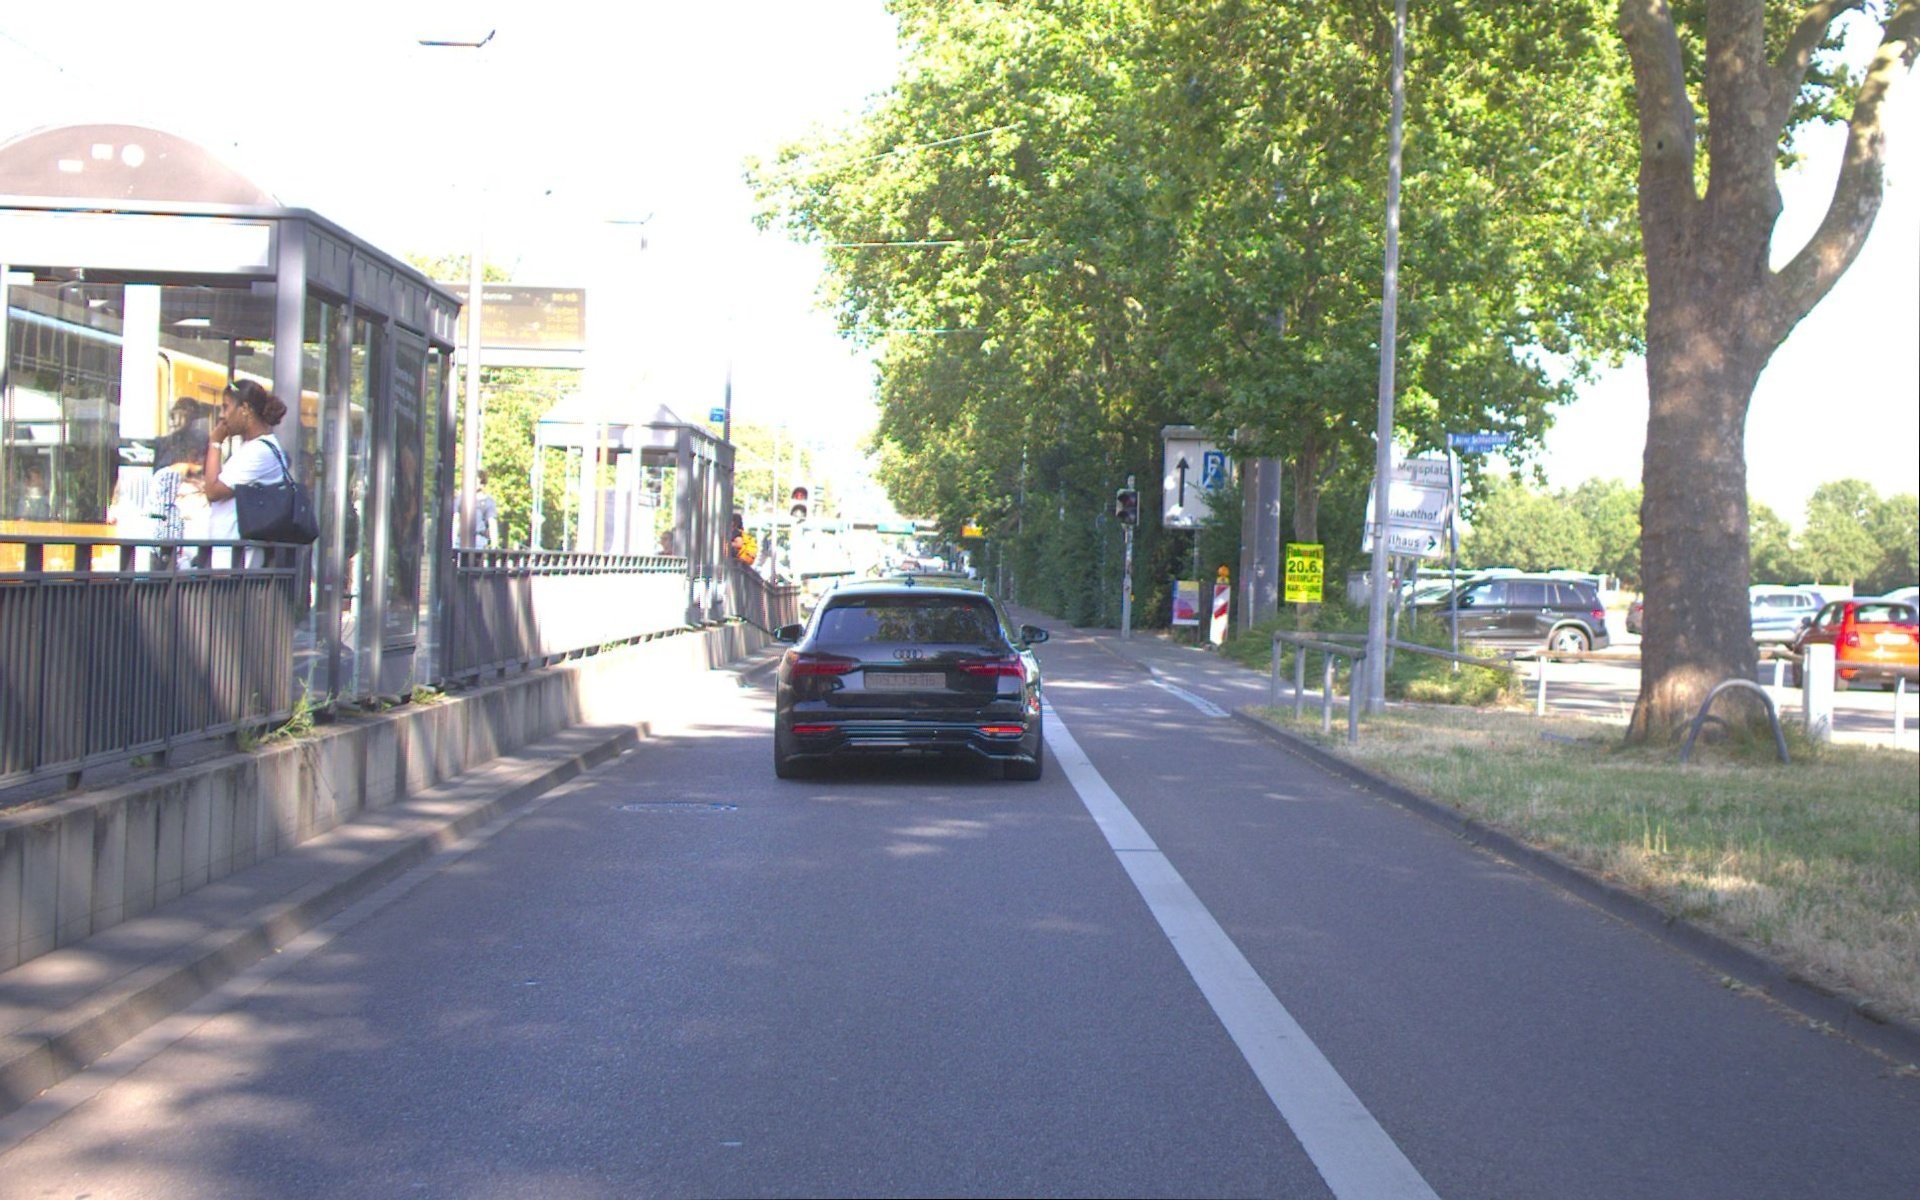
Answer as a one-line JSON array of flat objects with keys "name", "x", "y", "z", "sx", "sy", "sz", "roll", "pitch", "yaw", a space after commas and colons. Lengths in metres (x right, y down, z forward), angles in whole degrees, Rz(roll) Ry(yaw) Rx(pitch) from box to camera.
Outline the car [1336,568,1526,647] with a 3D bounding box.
[{"name": "car", "x": 9.554, "y": 0.140, "z": 69.928, "sx": 3.594, "sy": 1.457, "sz": 1.678, "roll": 2, "pitch": 1, "yaw": 1}]

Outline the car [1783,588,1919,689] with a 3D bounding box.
[{"name": "car", "x": 14.695, "y": 0.603, "z": 55.967, "sx": 1.614, "sy": 1.510, "sz": 3.803, "roll": 2, "pitch": 1, "yaw": 0}]

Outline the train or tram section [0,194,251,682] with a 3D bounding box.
[{"name": "train or tram section", "x": -9.259, "y": -1.366, "z": 30.995, "sx": 3.309, "sy": 3.816, "sz": 11.844, "roll": 2, "pitch": 1, "yaw": -1}]

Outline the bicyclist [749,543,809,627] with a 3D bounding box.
[{"name": "bicyclist", "x": -3.786, "y": -0.318, "z": 72.079, "sx": 0.907, "sy": 1.711, "sz": 0.770, "roll": 2, "pitch": 1, "yaw": -45}]

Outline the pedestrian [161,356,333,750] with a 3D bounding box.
[{"name": "pedestrian", "x": -3.318, "y": -0.219, "z": 16.041, "sx": 0.611, "sy": 1.778, "sz": 0.613, "roll": 2, "pitch": 0, "yaw": 0}]

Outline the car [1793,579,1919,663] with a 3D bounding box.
[{"name": "car", "x": 20.166, "y": 0.475, "z": 73.084, "sx": 4.459, "sy": 1.653, "sz": 1.917, "roll": 2, "pitch": 1, "yaw": 4}]

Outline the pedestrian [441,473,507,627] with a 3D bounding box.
[{"name": "pedestrian", "x": -5.519, "y": -0.568, "z": 39.029, "sx": 0.611, "sy": 1.707, "sz": 0.660, "roll": 2, "pitch": 0, "yaw": -2}]

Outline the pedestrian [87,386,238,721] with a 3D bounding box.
[{"name": "pedestrian", "x": -4.364, "y": -0.254, "z": 18.837, "sx": 0.610, "sy": 1.778, "sz": 0.681, "roll": 2, "pitch": 0, "yaw": 0}]

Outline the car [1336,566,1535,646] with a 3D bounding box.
[{"name": "car", "x": 9.973, "y": 0.115, "z": 72.250, "sx": 3.886, "sy": 1.499, "sz": 1.888, "roll": 2, "pitch": 1, "yaw": 1}]

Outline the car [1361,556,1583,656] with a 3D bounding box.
[{"name": "car", "x": 9.960, "y": 0.106, "z": 67.069, "sx": 3.987, "sy": 1.758, "sz": 1.833, "roll": 2, "pitch": 0, "yaw": 0}]

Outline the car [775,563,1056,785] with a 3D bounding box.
[{"name": "car", "x": -0.382, "y": 0.481, "z": 24.798, "sx": 1.878, "sy": 1.452, "sz": 3.357, "roll": 0, "pitch": 1, "yaw": -3}]

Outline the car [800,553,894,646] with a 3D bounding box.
[{"name": "car", "x": -2.593, "y": -0.034, "z": 79.443, "sx": 1.993, "sy": 2.007, "sz": 4.000, "roll": 2, "pitch": 1, "yaw": 0}]

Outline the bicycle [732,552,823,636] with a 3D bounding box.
[{"name": "bicycle", "x": -3.820, "y": -0.118, "z": 72.083, "sx": 1.968, "sy": 1.711, "sz": 0.591, "roll": 2, "pitch": 1, "yaw": -45}]

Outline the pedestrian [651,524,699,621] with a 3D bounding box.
[{"name": "pedestrian", "x": -3.906, "y": -0.377, "z": 47.149, "sx": 0.567, "sy": 1.288, "sz": 0.500, "roll": 3, "pitch": 0, "yaw": -1}]

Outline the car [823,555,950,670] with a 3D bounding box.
[{"name": "car", "x": -1.160, "y": 0.156, "z": 52.234, "sx": 1.762, "sy": 1.614, "sz": 4.001, "roll": 2, "pitch": 1, "yaw": -3}]

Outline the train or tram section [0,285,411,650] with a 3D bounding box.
[{"name": "train or tram section", "x": -9.438, "y": -1.508, "z": 42.908, "sx": 3.309, "sy": 3.816, "sz": 11.844, "roll": 2, "pitch": 1, "yaw": -1}]

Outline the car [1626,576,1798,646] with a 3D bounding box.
[{"name": "car", "x": 21.463, "y": 0.308, "z": 98.266, "sx": 4.351, "sy": 1.809, "sz": 2.000, "roll": 2, "pitch": 1, "yaw": -4}]

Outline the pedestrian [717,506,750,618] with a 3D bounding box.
[{"name": "pedestrian", "x": -3.507, "y": -0.586, "z": 53.312, "sx": 0.412, "sy": 1.711, "sz": 0.666, "roll": 2, "pitch": 0, "yaw": -1}]

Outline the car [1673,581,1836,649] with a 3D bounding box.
[{"name": "car", "x": 20.759, "y": 0.376, "z": 89.929, "sx": 3.812, "sy": 1.603, "sz": 1.670, "roll": 2, "pitch": 1, "yaw": 0}]
